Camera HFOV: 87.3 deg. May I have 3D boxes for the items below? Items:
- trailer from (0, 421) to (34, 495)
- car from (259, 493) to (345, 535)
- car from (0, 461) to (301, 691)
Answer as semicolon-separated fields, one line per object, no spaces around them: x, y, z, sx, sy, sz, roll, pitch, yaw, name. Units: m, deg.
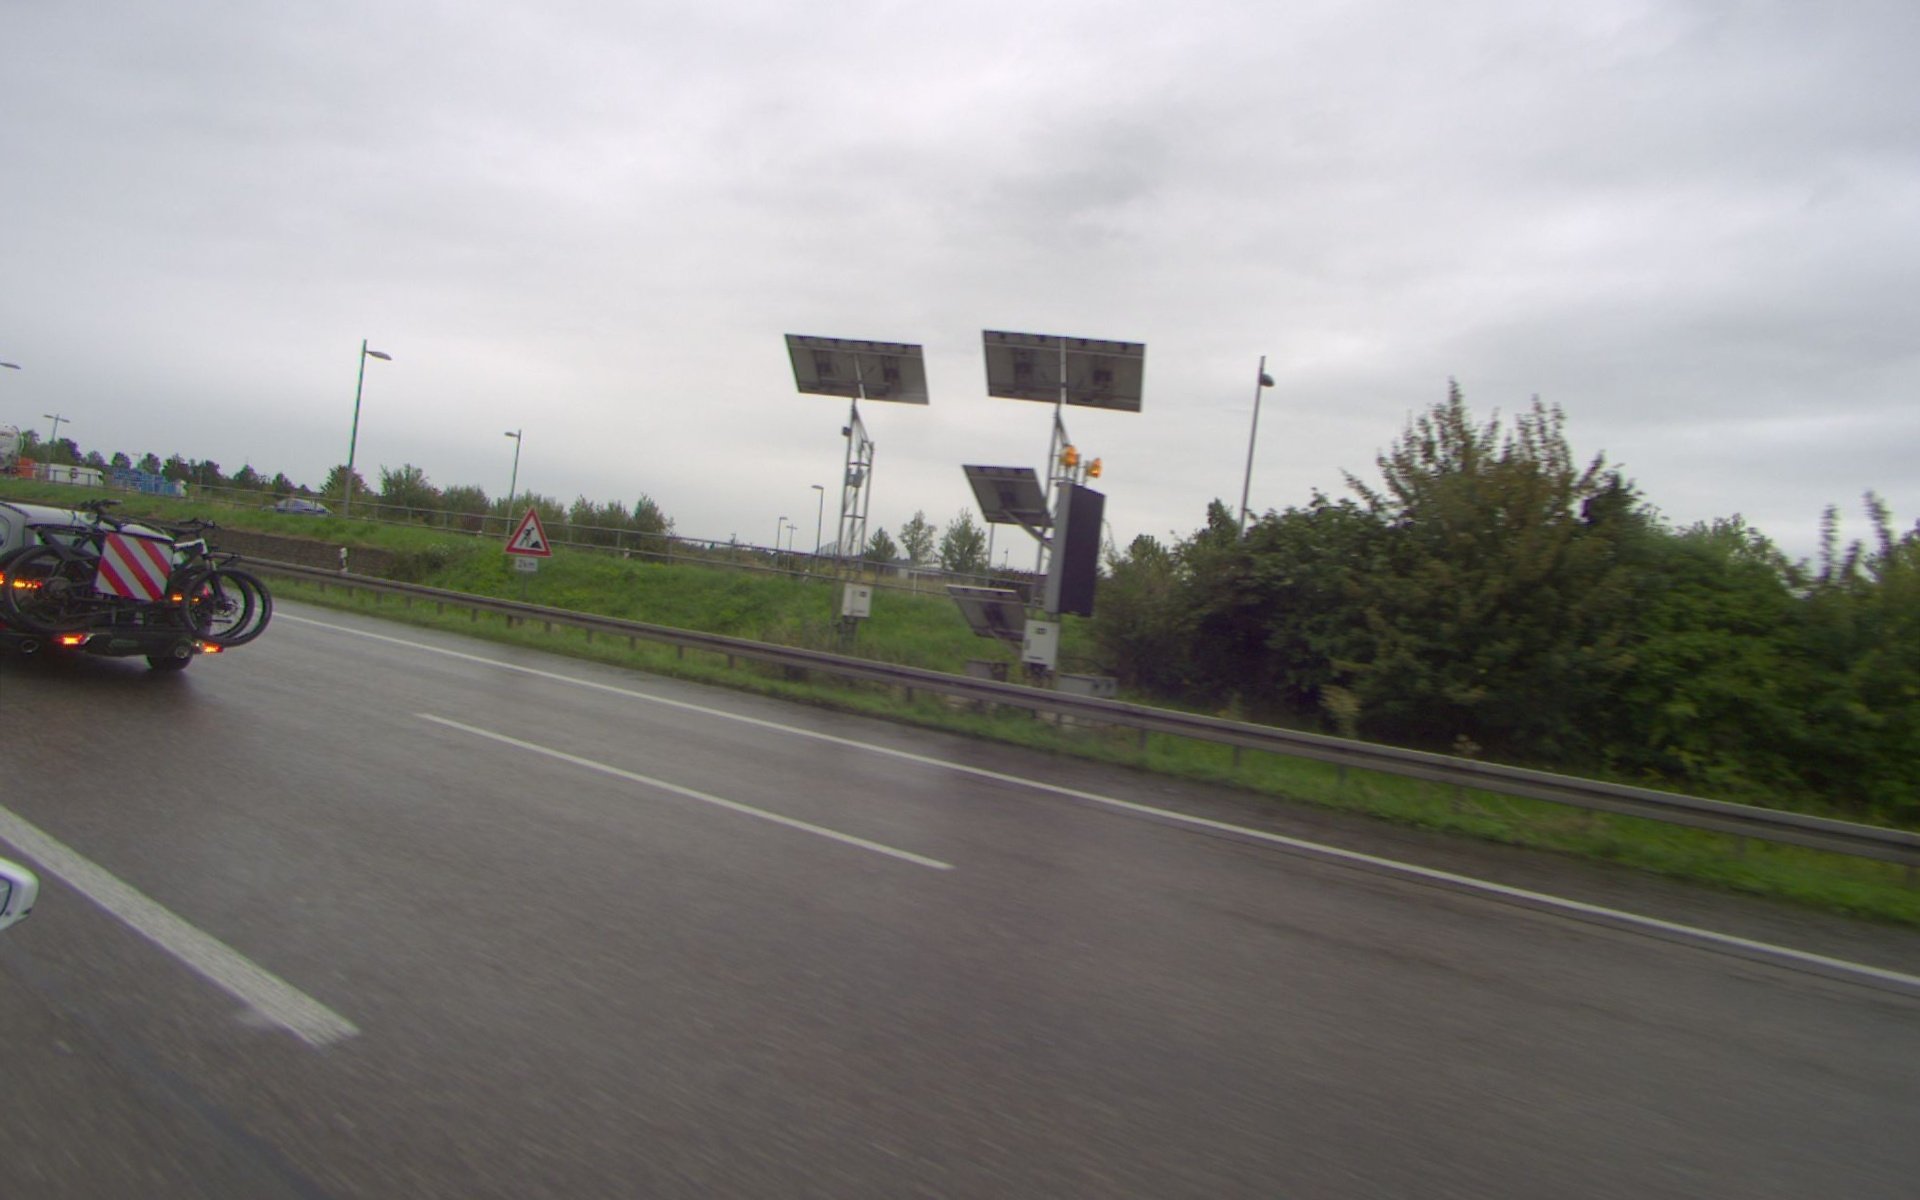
-63.273;-9.297;63.928;12.741;4.209;2.988;7;1;32;trailer
-33.321;-4.338;50.909;3.929;1.645;1.792;7;1;26;car
-8.993;-0.321;9.887;5.432;1.691;2.061;6;-2;33;car
